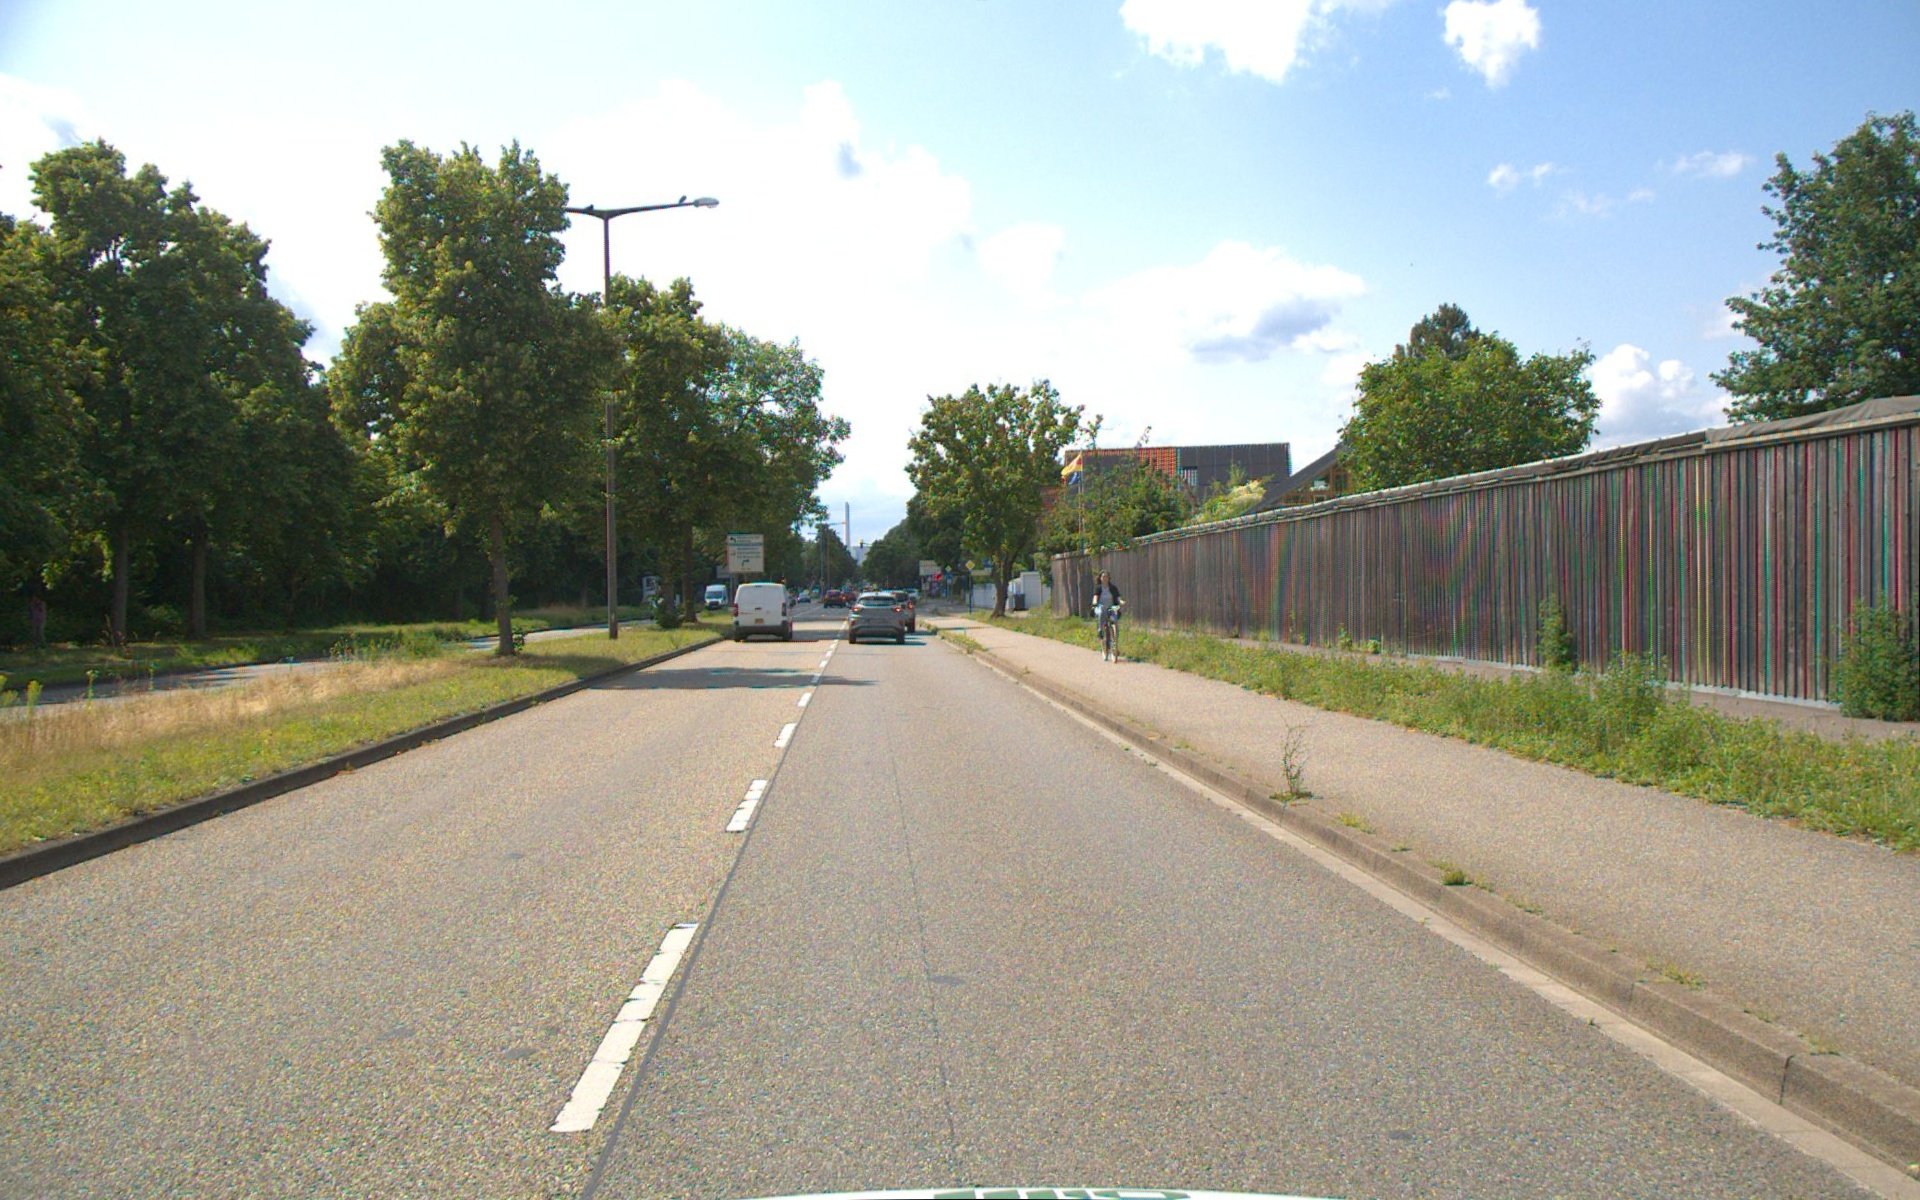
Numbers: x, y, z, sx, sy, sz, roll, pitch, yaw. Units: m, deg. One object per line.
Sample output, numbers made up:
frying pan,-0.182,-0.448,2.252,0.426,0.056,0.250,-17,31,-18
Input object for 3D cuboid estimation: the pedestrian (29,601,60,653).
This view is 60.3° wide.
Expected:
pedestrian,-29.496,0.880,53.308,0.631,1.658,0.656,0,0,-3

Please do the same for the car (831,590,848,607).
car,-13.040,-0.160,178.741,1.744,1.798,4.166,-1,0,-3

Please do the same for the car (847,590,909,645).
car,-2.560,0.517,51.639,1.838,1.616,4.182,-1,0,-3

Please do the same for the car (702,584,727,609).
car,-25.442,-0.357,171.466,2.005,2.474,5.247,-1,0,-3

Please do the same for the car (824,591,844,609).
car,-12.895,-0.032,168.821,1.902,1.798,4.144,-1,0,-3

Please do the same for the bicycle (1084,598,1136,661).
bicycle,2.823,0.535,31.337,0.633,1.086,2.277,-4,0,-2

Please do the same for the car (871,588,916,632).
car,-2.687,0.361,66.375,1.744,1.672,4.194,-1,0,-3

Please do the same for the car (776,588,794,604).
car,-19.659,-0.453,185.824,1.744,1.798,4.123,-1,0,-3

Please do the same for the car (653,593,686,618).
car,-21.837,0.394,124.396,1.954,1.735,4.191,-1,0,-3

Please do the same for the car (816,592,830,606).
car,-18.335,-0.157,221.803,1.744,1.798,4.148,-1,0,-3

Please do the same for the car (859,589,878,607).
car,-9.487,-0.175,171.183,1.954,1.803,4.144,0,1,-3

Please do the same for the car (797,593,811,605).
car,-21.831,-0.213,231.605,1.855,1.616,4.107,-1,0,-3

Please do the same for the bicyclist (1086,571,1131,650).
bicyclist,2.801,0.200,31.348,0.641,1.436,0.986,-4,0,-3

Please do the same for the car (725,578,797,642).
car,-6.460,0.286,54.153,2.025,1.945,4.643,-1,1,-3
